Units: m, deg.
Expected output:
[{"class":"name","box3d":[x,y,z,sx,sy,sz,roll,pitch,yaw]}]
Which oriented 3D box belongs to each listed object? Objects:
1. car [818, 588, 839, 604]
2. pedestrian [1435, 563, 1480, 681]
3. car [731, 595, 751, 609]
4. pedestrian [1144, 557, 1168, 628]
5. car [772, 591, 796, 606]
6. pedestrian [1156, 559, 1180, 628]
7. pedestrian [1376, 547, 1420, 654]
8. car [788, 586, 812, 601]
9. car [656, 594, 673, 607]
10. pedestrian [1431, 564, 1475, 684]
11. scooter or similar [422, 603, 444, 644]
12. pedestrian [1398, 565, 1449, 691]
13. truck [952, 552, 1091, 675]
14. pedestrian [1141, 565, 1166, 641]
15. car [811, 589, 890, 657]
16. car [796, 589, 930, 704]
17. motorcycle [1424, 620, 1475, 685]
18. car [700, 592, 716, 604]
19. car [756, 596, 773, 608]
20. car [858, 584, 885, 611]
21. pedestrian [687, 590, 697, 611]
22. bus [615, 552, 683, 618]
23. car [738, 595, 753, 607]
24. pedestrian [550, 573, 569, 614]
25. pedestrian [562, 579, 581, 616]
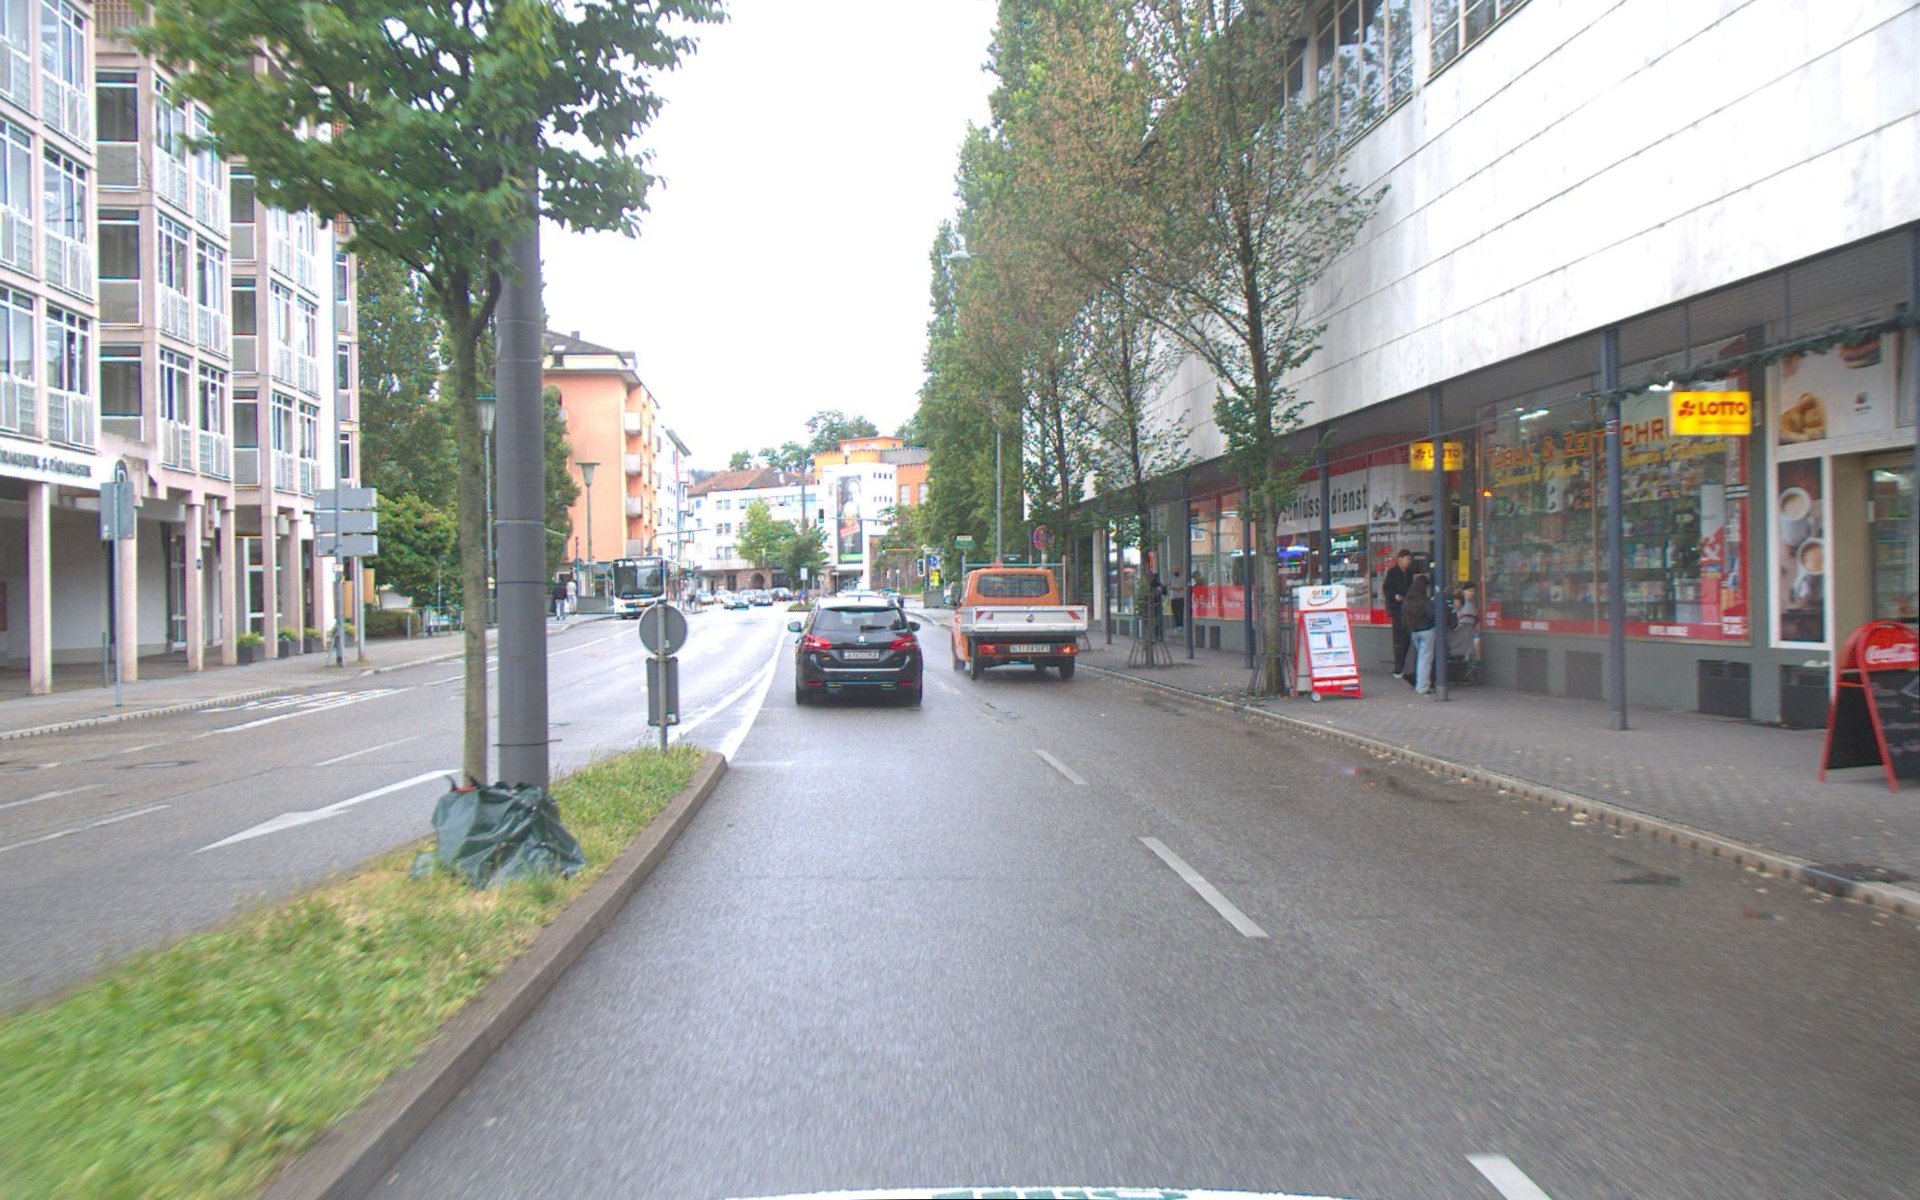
[{"class":"car","box3d":[-15.299,-0.451,192.789,1.958,1.713,3.989,-1,0,-11]},{"class":"pedestrian","box3d":[6.858,0.294,22.821,0.420,1.593,0.509,-2,0,-1]},{"class":"car","box3d":[-21.978,0.221,166.066,1.757,1.348,4.401,-1,0,-6]},{"class":"pedestrian","box3d":[4.941,-0.191,41.643,0.525,1.749,0.535,-1,0,3]},{"class":"car","box3d":[-21.333,-0.157,200.129,1.627,1.592,3.564,3,-3,-30]},{"class":"pedestrian","box3d":[5.311,-0.164,42.245,0.525,1.749,0.535,-1,0,4]},{"class":"pedestrian","box3d":[6.614,0.011,24.976,0.422,1.593,0.507,-1,0,40]},{"class":"car","box3d":[-19.726,-0.801,204.189,1.627,1.592,3.564,3,-3,-30]},{"class":"car","box3d":[-34.118,0.108,190.921,1.633,1.424,3.871,-2,0,-6]},{"class":"pedestrian","box3d":[6.646,0.314,22.292,0.380,1.593,0.429,-2,0,-9]},{"class":"scooter or similar","box3d":[-18.604,0.827,58.402,0.473,1.336,1.569,-2,2,-9]},{"class":"pedestrian","box3d":[5.981,0.360,21.353,0.421,1.593,0.509,-2,0,-7]},{"class":"truck","box3d":[1.024,0.255,30.010,2.080,2.061,4.712,0,-1,-3]},{"class":"pedestrian","box3d":[4.782,0.071,40.893,0.525,1.851,0.535,-1,0,3]},{"class":"car","box3d":[-2.568,0.518,39.440,1.759,1.509,3.998,-1,0,-3]},{"class":"car","box3d":[-1.388,0.640,23.852,1.759,1.509,3.997,1,-1,-3]},{"class":"motorcycle","box3d":[6.601,0.697,22.313,0.318,0.818,0.919,-2,1,-5]},{"class":"car","box3d":[-30.592,-0.222,200.688,1.633,1.424,3.871,-2,0,-6]},{"class":"car","box3d":[-21.651,0.227,182.820,1.757,1.348,4.401,-1,0,-6]},{"class":"car","box3d":[-5.832,-0.136,108.497,1.613,1.592,3.595,2,-2,-5]},{"class":"pedestrian","box3d":[-27.167,0.051,167.929,0.721,2.049,0.648,3,-3,-39]},{"class":"bus","box3d":[-15.995,-0.865,85.769,2.692,3.129,12.219,-1,2,-7]},{"class":"car","box3d":[-25.081,0.127,193.628,1.633,1.424,3.871,-2,0,-6]},{"class":"pedestrian","box3d":[-17.971,-0.298,74.226,0.684,1.825,0.958,0,-1,-2]},{"class":"pedestrian","box3d":[-19.250,-0.102,81.959,0.781,1.825,0.812,0,-1,-3]}]
